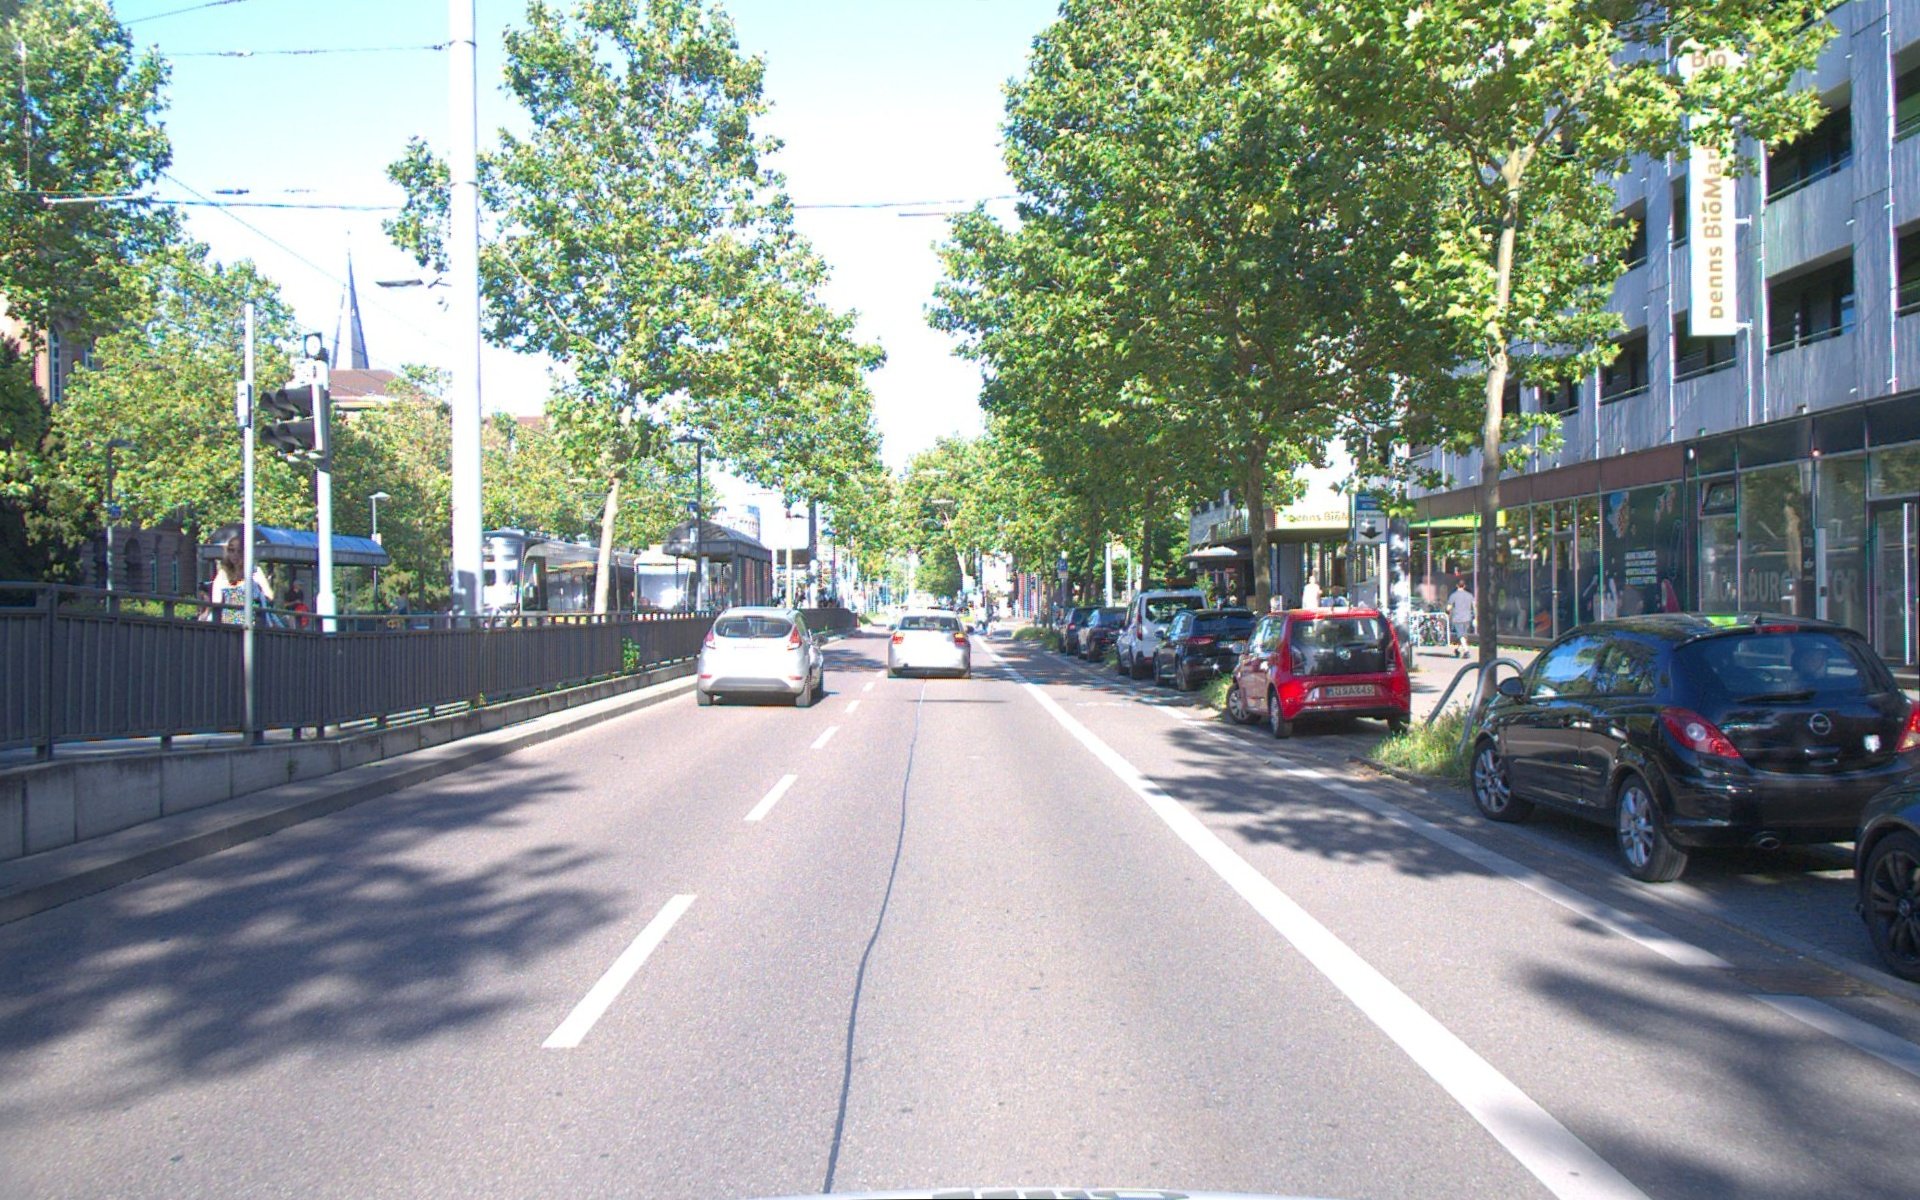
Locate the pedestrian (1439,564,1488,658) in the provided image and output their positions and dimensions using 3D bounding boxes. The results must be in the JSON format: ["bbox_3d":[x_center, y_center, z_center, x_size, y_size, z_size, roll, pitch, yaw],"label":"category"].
[{"bbox_3d":[11.306,0.246,37.161,0.772,2.049,0.890,-1,0,0],"label":"pedestrian"}]

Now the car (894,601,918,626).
[{"bbox_3d":[-4.716,1.155,145.461,1.953,2.049,4.000,1,1,0],"label":"car"}]

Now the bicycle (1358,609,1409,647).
[{"bbox_3d":[11.947,0.783,46.634,1.355,1.030,0.243,1,0,-1],"label":"bicycle"}]

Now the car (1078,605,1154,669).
[{"bbox_3d":[4.222,0.970,45.231,1.676,1.590,4.000,1,1,0],"label":"car"}]

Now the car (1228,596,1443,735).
[{"bbox_3d":[4.603,0.760,20.842,1.769,1.547,3.999,1,0,0],"label":"car"}]

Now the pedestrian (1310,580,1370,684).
[{"bbox_3d":[7.654,0.643,33.374,0.944,2.049,0.938,-1,0,0],"label":"pedestrian"}]

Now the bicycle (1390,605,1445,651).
[{"bbox_3d":[12.008,0.733,43.415,1.355,1.168,0.243,1,0,-1],"label":"bicycle"}]

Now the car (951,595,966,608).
[{"bbox_3d":[-0.240,0.226,218.607,1.953,1.728,4.000,0,0,0],"label":"car"}]

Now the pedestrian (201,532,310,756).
[{"bbox_3d":[-6.447,0.387,15.169,0.626,1.988,0.813,1,0,0],"label":"pedestrian"}]

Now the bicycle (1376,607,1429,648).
[{"bbox_3d":[11.961,0.753,44.717,1.355,1.077,0.243,1,0,-1],"label":"bicycle"}]

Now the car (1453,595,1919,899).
[{"bbox_3d":[4.642,0.780,10.774,1.635,1.578,4.000,1,0,0],"label":"car"}]

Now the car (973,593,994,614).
[{"bbox_3d":[2.390,0.329,169.754,1.953,2.049,3.999,1,1,-1],"label":"car"}]

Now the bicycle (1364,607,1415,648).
[{"bbox_3d":[11.999,0.773,46.217,1.355,1.117,0.243,1,0,-1],"label":"bicycle"}]

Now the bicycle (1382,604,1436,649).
[{"bbox_3d":[11.954,0.716,44.079,1.355,1.168,0.243,1,0,-1],"label":"bicycle"}]

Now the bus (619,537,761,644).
[{"bbox_3d":[-10.497,-0.397,66.768,2.693,3.689,18.846,0,0,0],"label":"bus"}]

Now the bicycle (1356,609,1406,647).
[{"bbox_3d":[11.943,0.787,46.911,1.355,1.041,0.243,1,0,-1],"label":"bicycle"}]

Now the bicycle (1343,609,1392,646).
[{"bbox_3d":[11.886,0.808,48.301,1.355,1.046,0.243,1,0,-1],"label":"bicycle"}]

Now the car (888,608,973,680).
[{"bbox_3d":[-0.640,0.913,35.689,1.726,1.457,3.999,0,0,-1],"label":"car"}]

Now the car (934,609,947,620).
[{"bbox_3d":[-3.072,2.218,257.323,1.953,1.615,4.000,1,1,0],"label":"car"}]

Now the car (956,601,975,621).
[{"bbox_3d":[0.568,1.203,181.885,2.029,2.049,4.000,-1,0,0],"label":"car"}]

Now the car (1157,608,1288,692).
[{"bbox_3d":[4.732,0.872,30.326,1.744,1.405,3.999,1,0,0],"label":"car"}]

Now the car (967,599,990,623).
[{"bbox_3d":[1.626,0.942,146.988,1.953,2.049,4.000,1,1,0],"label":"car"}]

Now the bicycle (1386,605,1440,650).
[{"bbox_3d":[11.982,0.725,43.758,1.355,1.168,0.243,1,0,-1],"label":"bicycle"}]

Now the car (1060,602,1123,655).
[{"bbox_3d":[4.134,0.881,52.551,1.666,1.561,3.716,1,1,0],"label":"car"}]

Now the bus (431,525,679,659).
[{"bbox_3d":[-13.351,-0.325,58.327,2.810,3.692,24.601,0,0,0],"label":"bus"}]

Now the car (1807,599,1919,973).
[{"bbox_3d":[4.934,0.769,5.405,1.953,1.535,4.597,1,-1,0],"label":"car"}]

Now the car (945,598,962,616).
[{"bbox_3d":[-0.793,0.783,197.477,1.953,2.049,4.000,1,1,0],"label":"car"}]

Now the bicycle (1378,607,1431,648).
[{"bbox_3d":[11.938,0.739,44.407,1.355,1.074,0.243,1,0,-1],"label":"bicycle"}]

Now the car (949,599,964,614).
[{"bbox_3d":[-0.505,0.916,232.767,1.953,2.049,4.000,1,1,0],"label":"car"}]

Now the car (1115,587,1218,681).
[{"bbox_3d":[4.443,0.695,36.092,1.689,1.913,4.000,1,0,0],"label":"car"}]

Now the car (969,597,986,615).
[{"bbox_3d":[2.046,0.663,192.782,1.837,2.049,3.711,1,1,0],"label":"car"}]

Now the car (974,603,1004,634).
[{"bbox_3d":[1.771,1.120,101.648,1.772,1.822,3.911,1,1,0],"label":"car"}]

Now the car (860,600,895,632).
[{"bbox_3d":[-5.156,0.993,103.376,1.953,1.848,4.000,1,1,0],"label":"car"}]

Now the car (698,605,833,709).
[{"bbox_3d":[-2.925,0.823,25.515,1.613,1.386,3.760,1,1,0],"label":"car"}]

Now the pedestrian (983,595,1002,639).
[{"bbox_3d":[1.543,0.792,78.229,0.820,2.049,0.649,1,0,6],"label":"pedestrian"}]
